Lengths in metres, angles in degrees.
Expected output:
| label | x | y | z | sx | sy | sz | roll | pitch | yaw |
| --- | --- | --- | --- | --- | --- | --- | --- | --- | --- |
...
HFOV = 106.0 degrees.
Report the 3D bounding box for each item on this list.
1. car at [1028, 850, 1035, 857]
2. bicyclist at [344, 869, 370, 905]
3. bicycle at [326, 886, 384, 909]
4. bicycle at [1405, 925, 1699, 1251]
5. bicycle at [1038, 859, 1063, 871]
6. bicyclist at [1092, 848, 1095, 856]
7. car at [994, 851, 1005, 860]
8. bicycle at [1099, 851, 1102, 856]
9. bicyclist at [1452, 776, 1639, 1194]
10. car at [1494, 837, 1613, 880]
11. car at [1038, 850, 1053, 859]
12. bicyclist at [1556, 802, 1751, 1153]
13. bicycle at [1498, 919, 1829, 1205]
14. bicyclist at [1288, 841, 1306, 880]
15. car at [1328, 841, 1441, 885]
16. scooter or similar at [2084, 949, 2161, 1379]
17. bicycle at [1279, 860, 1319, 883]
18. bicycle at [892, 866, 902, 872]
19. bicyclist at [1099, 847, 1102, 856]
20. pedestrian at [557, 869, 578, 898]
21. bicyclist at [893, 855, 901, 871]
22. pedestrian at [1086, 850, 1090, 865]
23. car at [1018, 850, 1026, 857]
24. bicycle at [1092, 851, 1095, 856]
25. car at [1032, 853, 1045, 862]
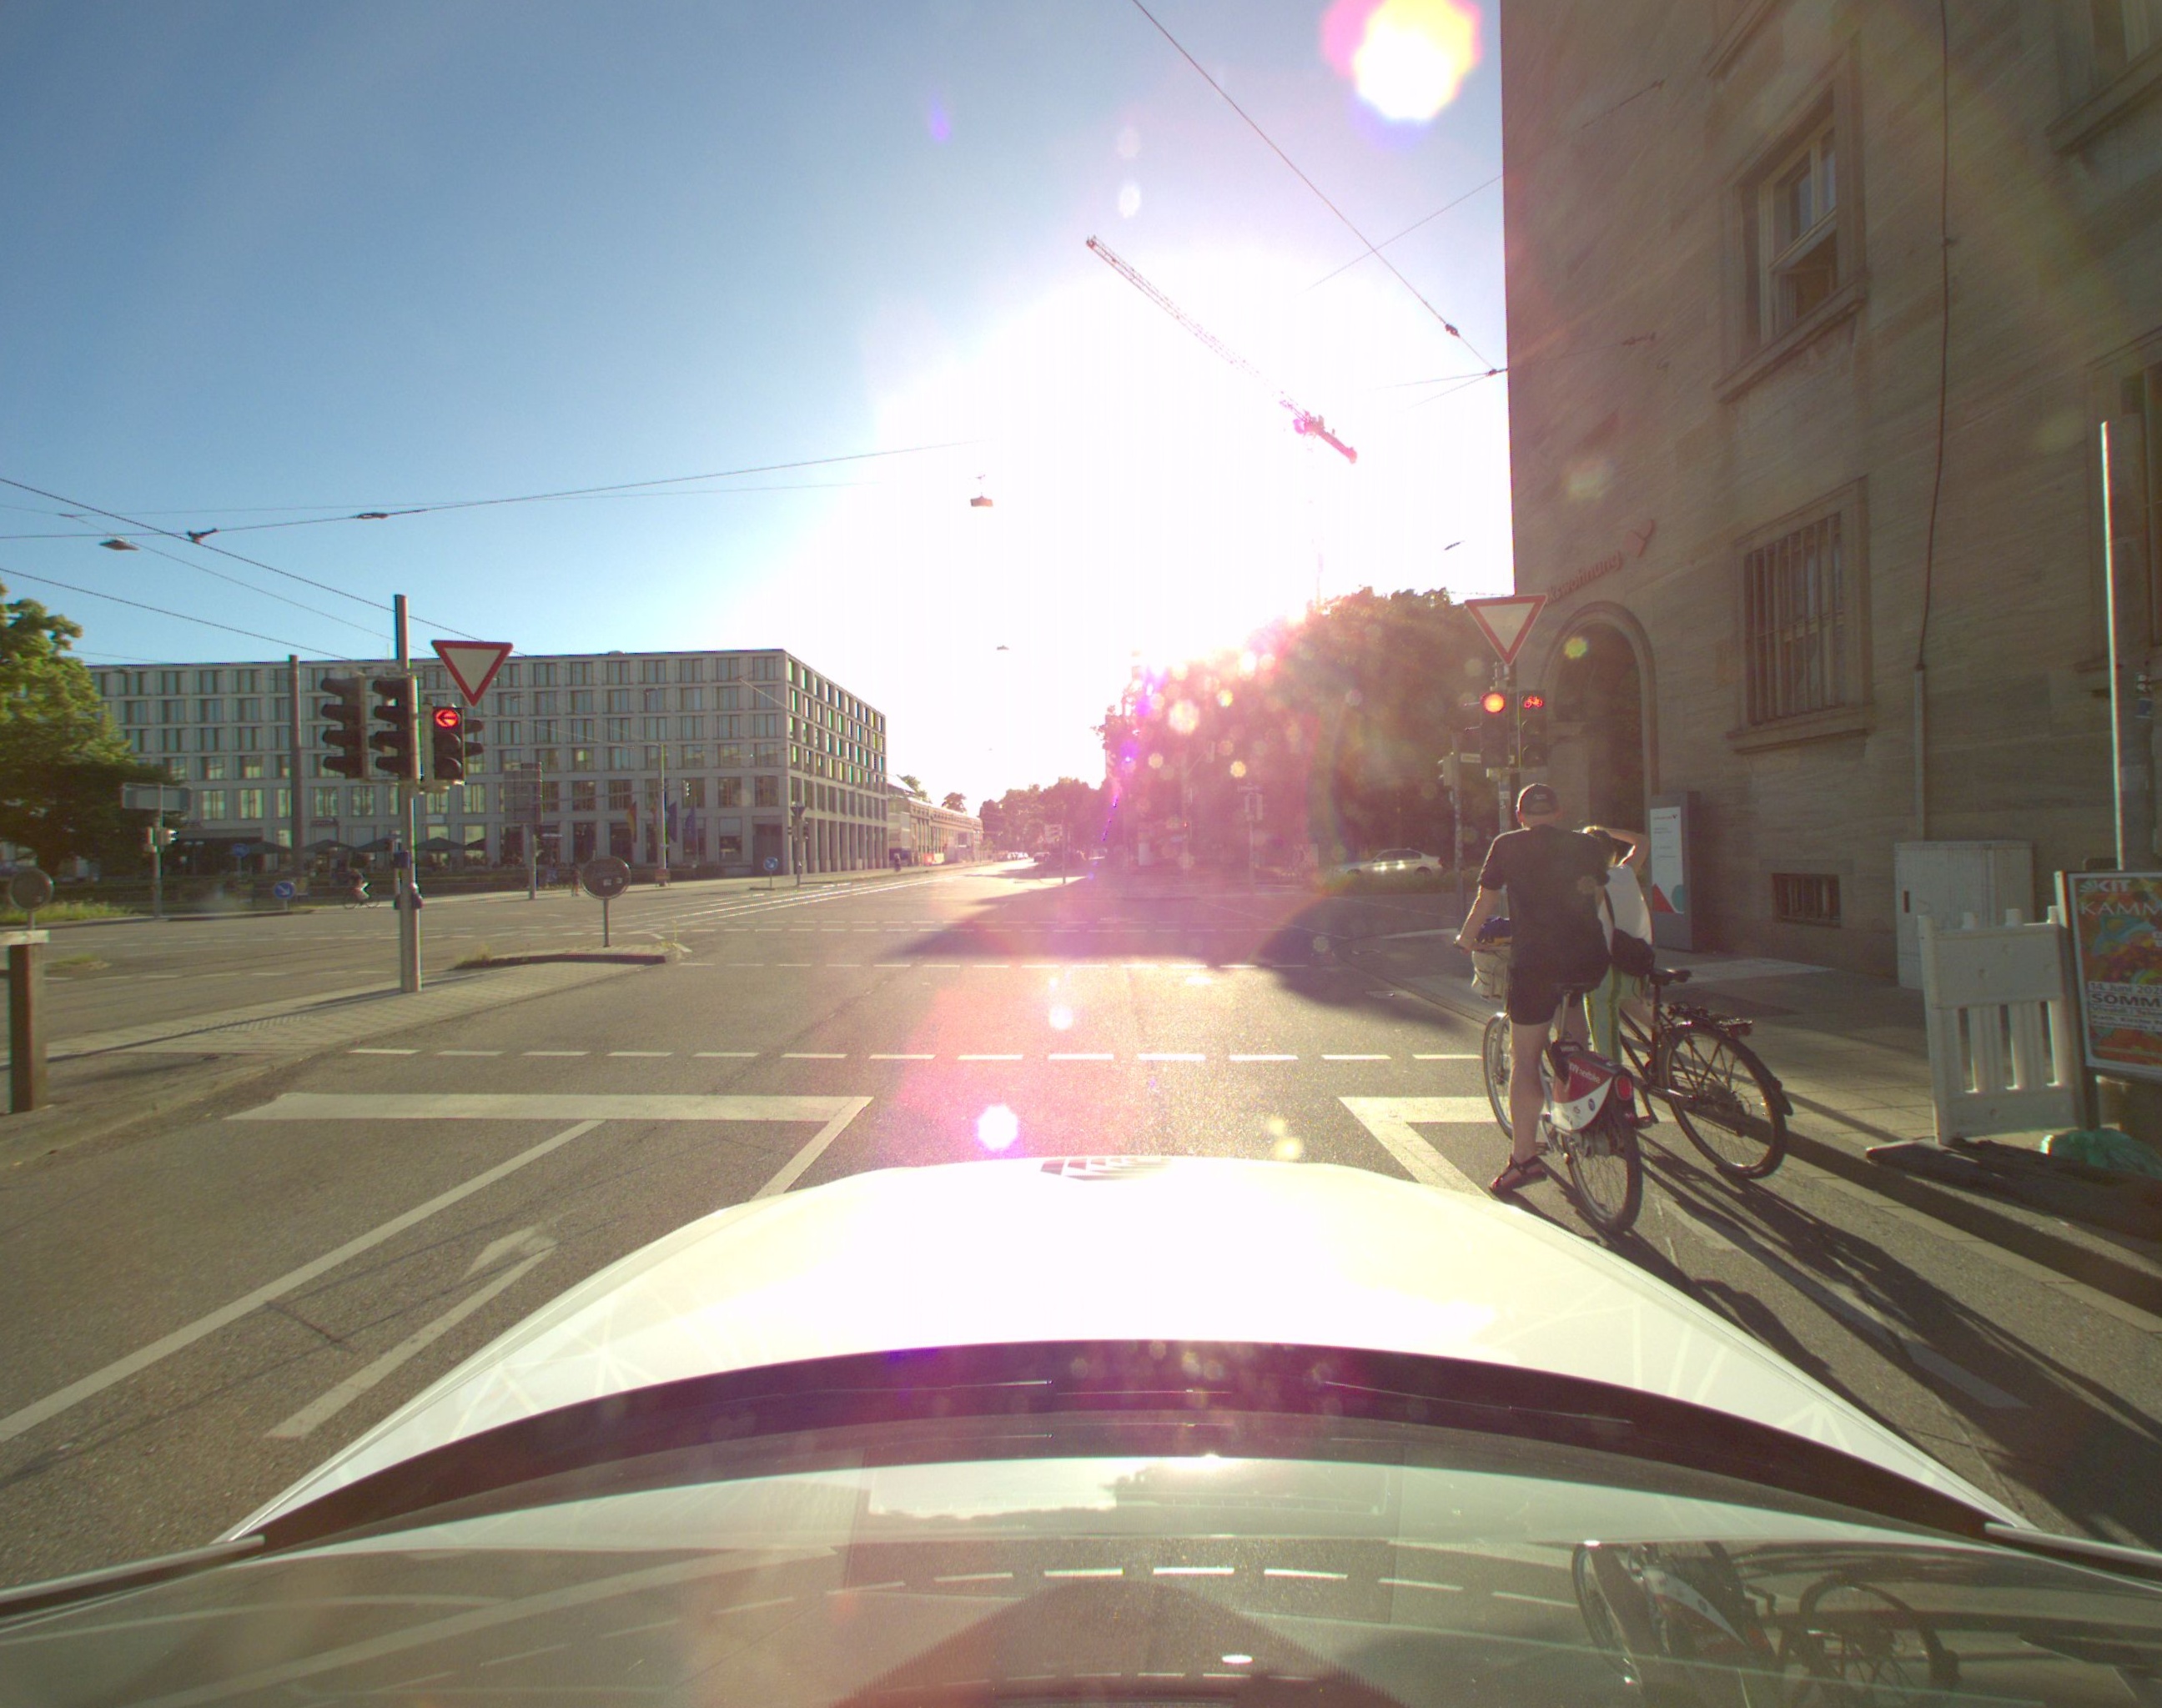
| label | x | y | z | sx | sy | sz | roll | pitch | yaw |
| --- | --- | --- | --- | --- | --- | --- | --- | --- | --- |
| car | -12.718 | -0.071 | 210.382 | 1.688 | 1.718 | 4.245 | 0 | -1 | -1 |
| bicyclist | -32.821 | 1.471 | 36.925 | 0.752 | 1.589 | 0.782 | -2 | 0 | 43 |
| bicycle | -32.861 | 1.955 | 36.870 | 0.753 | 0.935 | 1.875 | -2 | 0 | 43 |
| bicycle | 2.127 | 0.961 | 3.953 | 0.513 | 1.077 | 1.729 | -1 | 0 | 4 |
| bicycle | -2.567 | 0.907 | 67.720 | 1.996 | 0.891 | 0.655 | -4 | -1 | 29 |
| bicyclist | 2.665 | -0.494 | 169.149 | 0.567 | 1.691 | 0.700 | -2 | 0 | 1 |
| car | -15.666 | 0.262 | 157.088 | 1.688 | 1.718 | 4.245 | 0 | -1 | -1 |
| bicycle | 4.000 | -0.062 | 169.343 | 0.573 | 1.077 | 1.831 | -2 | 0 | 1 |
| bicyclist | 2.129 | 0.564 | 3.795 | 0.556 | 1.799 | 0.551 | -1 | 0 | 3 |
| car | 19.122 | 0.177 | 33.052 | 3.835 | 1.611 | 1.650 | -2 | 0 | 1 |
| car | -6.282 | 0.140 | 144.278 | 1.882 | 1.565 | 4.815 | 1 | 0 | 6 |
| bicyclist | 2.960 | 0.595 | 4.262 | 0.556 | 1.691 | 0.640 | -1 | 0 | 0 |
| bicycle | 2.949 | 0.961 | 4.369 | 0.532 | 1.077 | 1.751 | -1 | 0 | 1 |
| bicyclist | 9.611 | 0.282 | 36.261 | 0.640 | 1.683 | 0.508 | -2 | 0 | 7 |
| car | 12.352 | 0.355 | 33.272 | 3.979 | 1.611 | 1.650 | -2 | 0 | 1 |
| scooter or similar | 3.280 | 0.876 | 1.776 | 0.533 | 1.185 | 1.328 | -2 | 0 | 1 |
| bicycle | 9.699 | 0.764 | 36.259 | 1.657 | 0.963 | 0.535 | -2 | 0 | 7 |
| bicycle | -16.139 | 1.333 | 71.437 | 0.499 | 0.515 | 1.258 | 0 | -1 | 1 |
| bicyclist | 4.000 | -0.528 | 169.743 | 0.567 | 1.691 | 0.700 | -2 | 0 | 1 |
| pedestrian | -28.690 | 1.633 | 45.541 | 0.775 | 1.589 | 0.589 | -2 | 0 | -9 |
| bicyclist | -16.153 | 0.796 | 71.435 | 0.594 | 1.377 | 0.638 | 0 | -1 | 1 |
| pedestrian | 0.842 | 0.406 | 97.828 | 0.462 | 1.813 | 0.502 | -2 | 0 | -3 |
| car | -14.238 | -0.122 | 195.337 | 1.688 | 1.718 | 4.245 | 0 | -1 | -1 |
| bicycle | 2.679 | -0.053 | 169.163 | 0.573 | 1.077 | 1.831 | -2 | 0 | 1 |
| car | -6.559 | 0.549 | 126.539 | 1.654 | 1.455 | 4.434 | -1 | 0 | 2 |
